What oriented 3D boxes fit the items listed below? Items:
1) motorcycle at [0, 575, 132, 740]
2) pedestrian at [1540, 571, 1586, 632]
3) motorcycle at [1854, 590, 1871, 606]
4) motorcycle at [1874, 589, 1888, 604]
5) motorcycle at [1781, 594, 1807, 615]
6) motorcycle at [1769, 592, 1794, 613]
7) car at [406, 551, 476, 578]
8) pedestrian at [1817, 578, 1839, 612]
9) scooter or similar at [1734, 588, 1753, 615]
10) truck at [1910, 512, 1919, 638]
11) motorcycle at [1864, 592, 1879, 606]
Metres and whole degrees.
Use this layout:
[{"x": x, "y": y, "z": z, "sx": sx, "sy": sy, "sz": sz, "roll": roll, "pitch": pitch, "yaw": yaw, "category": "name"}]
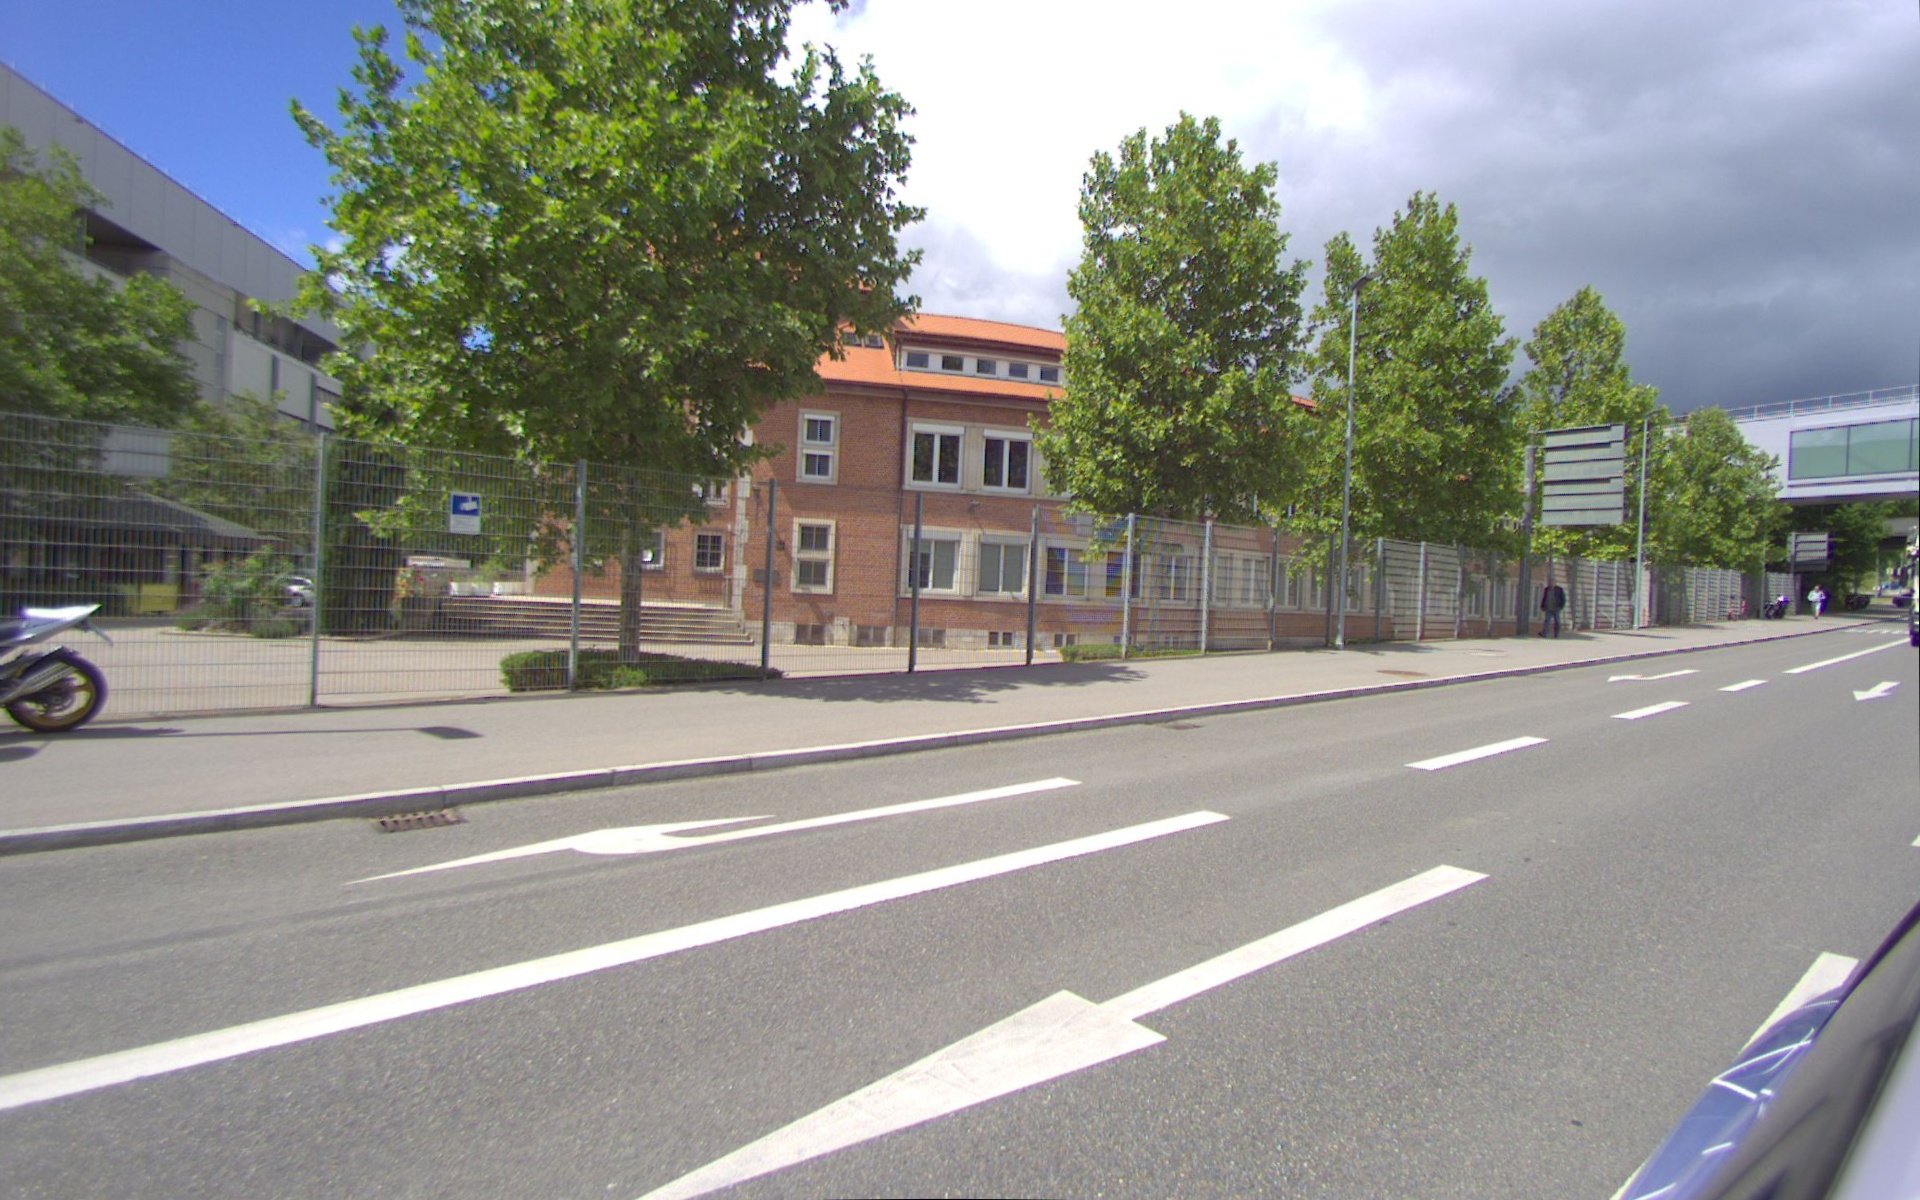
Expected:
[{"x": -7.390, "y": 0.410, "z": 7.315, "sx": 0.693, "sy": 1.172, "sz": 2.113, "roll": 4, "pitch": 3, "yaw": 44, "category": "motorcycle"}, {"x": 18.176, "y": 0.026, "z": 30.507, "sx": 0.924, "sy": 1.764, "sz": 0.879, "roll": 0, "pitch": 3, "yaw": -42, "category": "pedestrian"}, {"x": 68.454, "y": -0.165, "z": 76.717, "sx": 2.076, "sy": 1.168, "sz": 0.679, "roll": 0, "pitch": 2, "yaw": -41, "category": "motorcycle"}, {"x": 73.650, "y": -0.286, "z": 80.922, "sx": 2.144, "sy": 1.096, "sz": 0.679, "roll": -1, "pitch": 2, "yaw": -43, "category": "motorcycle"}, {"x": 46.842, "y": 0.248, "z": 56.824, "sx": 2.467, "sy": 1.077, "sz": 0.709, "roll": -1, "pitch": 4, "yaw": -43, "category": "motorcycle"}, {"x": 44.518, "y": 0.113, "z": 54.810, "sx": 2.209, "sy": 1.077, "sz": 0.669, "roll": -1, "pitch": 4, "yaw": -43, "category": "motorcycle"}, {"x": -35.907, "y": -2.474, "z": 70.151, "sx": 3.916, "sy": 1.805, "sz": 2.004, "roll": -1, "pitch": 1, "yaw": -13, "category": "car"}, {"x": 50.148, "y": -0.302, "z": 58.488, "sx": 1.078, "sy": 1.911, "sz": 0.790, "roll": 0, "pitch": 2, "yaw": -43, "category": "pedestrian"}, {"x": 39.005, "y": 0.078, "z": 50.375, "sx": 1.314, "sy": 1.310, "sz": 0.492, "roll": 0, "pitch": 3, "yaw": -42, "category": "scooter or similar"}, {"x": 35.180, "y": -0.780, "z": 34.893, "sx": 9.914, "sy": 4.055, "sz": 2.784, "roll": 0, "pitch": 1, "yaw": -43, "category": "truck"}, {"x": 71.255, "y": -0.087, "z": 79.070, "sx": 2.004, "sy": 1.096, "sz": 0.679, "roll": -1, "pitch": 2, "yaw": -43, "category": "motorcycle"}]
